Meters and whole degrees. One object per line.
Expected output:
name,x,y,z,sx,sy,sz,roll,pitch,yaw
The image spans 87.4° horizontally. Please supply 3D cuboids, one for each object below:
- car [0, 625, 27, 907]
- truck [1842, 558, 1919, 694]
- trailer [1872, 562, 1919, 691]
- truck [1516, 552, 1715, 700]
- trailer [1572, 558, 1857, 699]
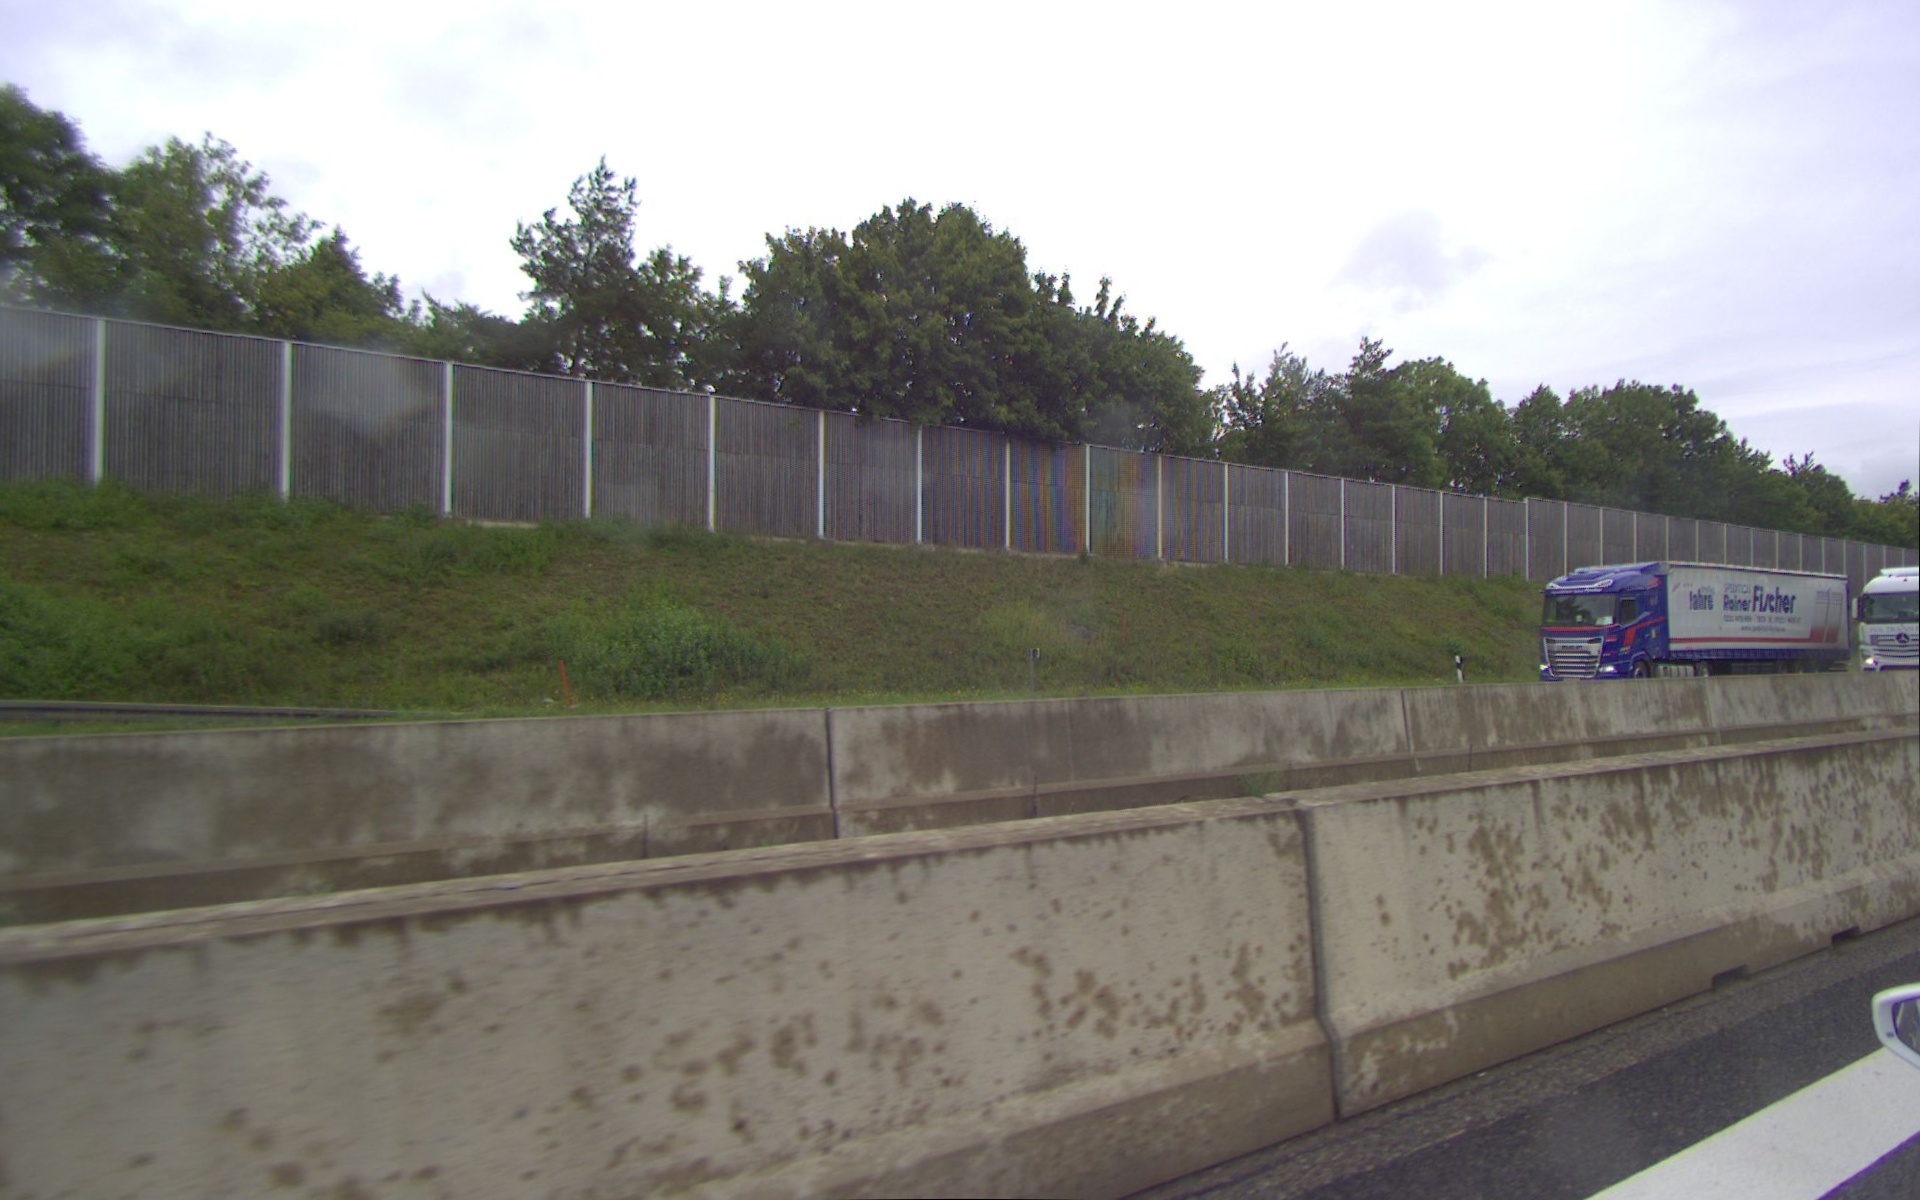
car,-8.728,1.147,5.641,4.712,2.040,1.984,1,-1,-30
truck,33.086,0.912,34.182,6.026,4.382,2.766,2,0,-30
trailer,38.613,1.107,37.457,13.860,4.382,2.766,2,0,-31
truck,21.273,0.894,32.551,6.027,4.381,3.075,2,-2,-30
trailer,27.554,1.131,36.275,14.171,4.381,3.075,2,-2,-31
